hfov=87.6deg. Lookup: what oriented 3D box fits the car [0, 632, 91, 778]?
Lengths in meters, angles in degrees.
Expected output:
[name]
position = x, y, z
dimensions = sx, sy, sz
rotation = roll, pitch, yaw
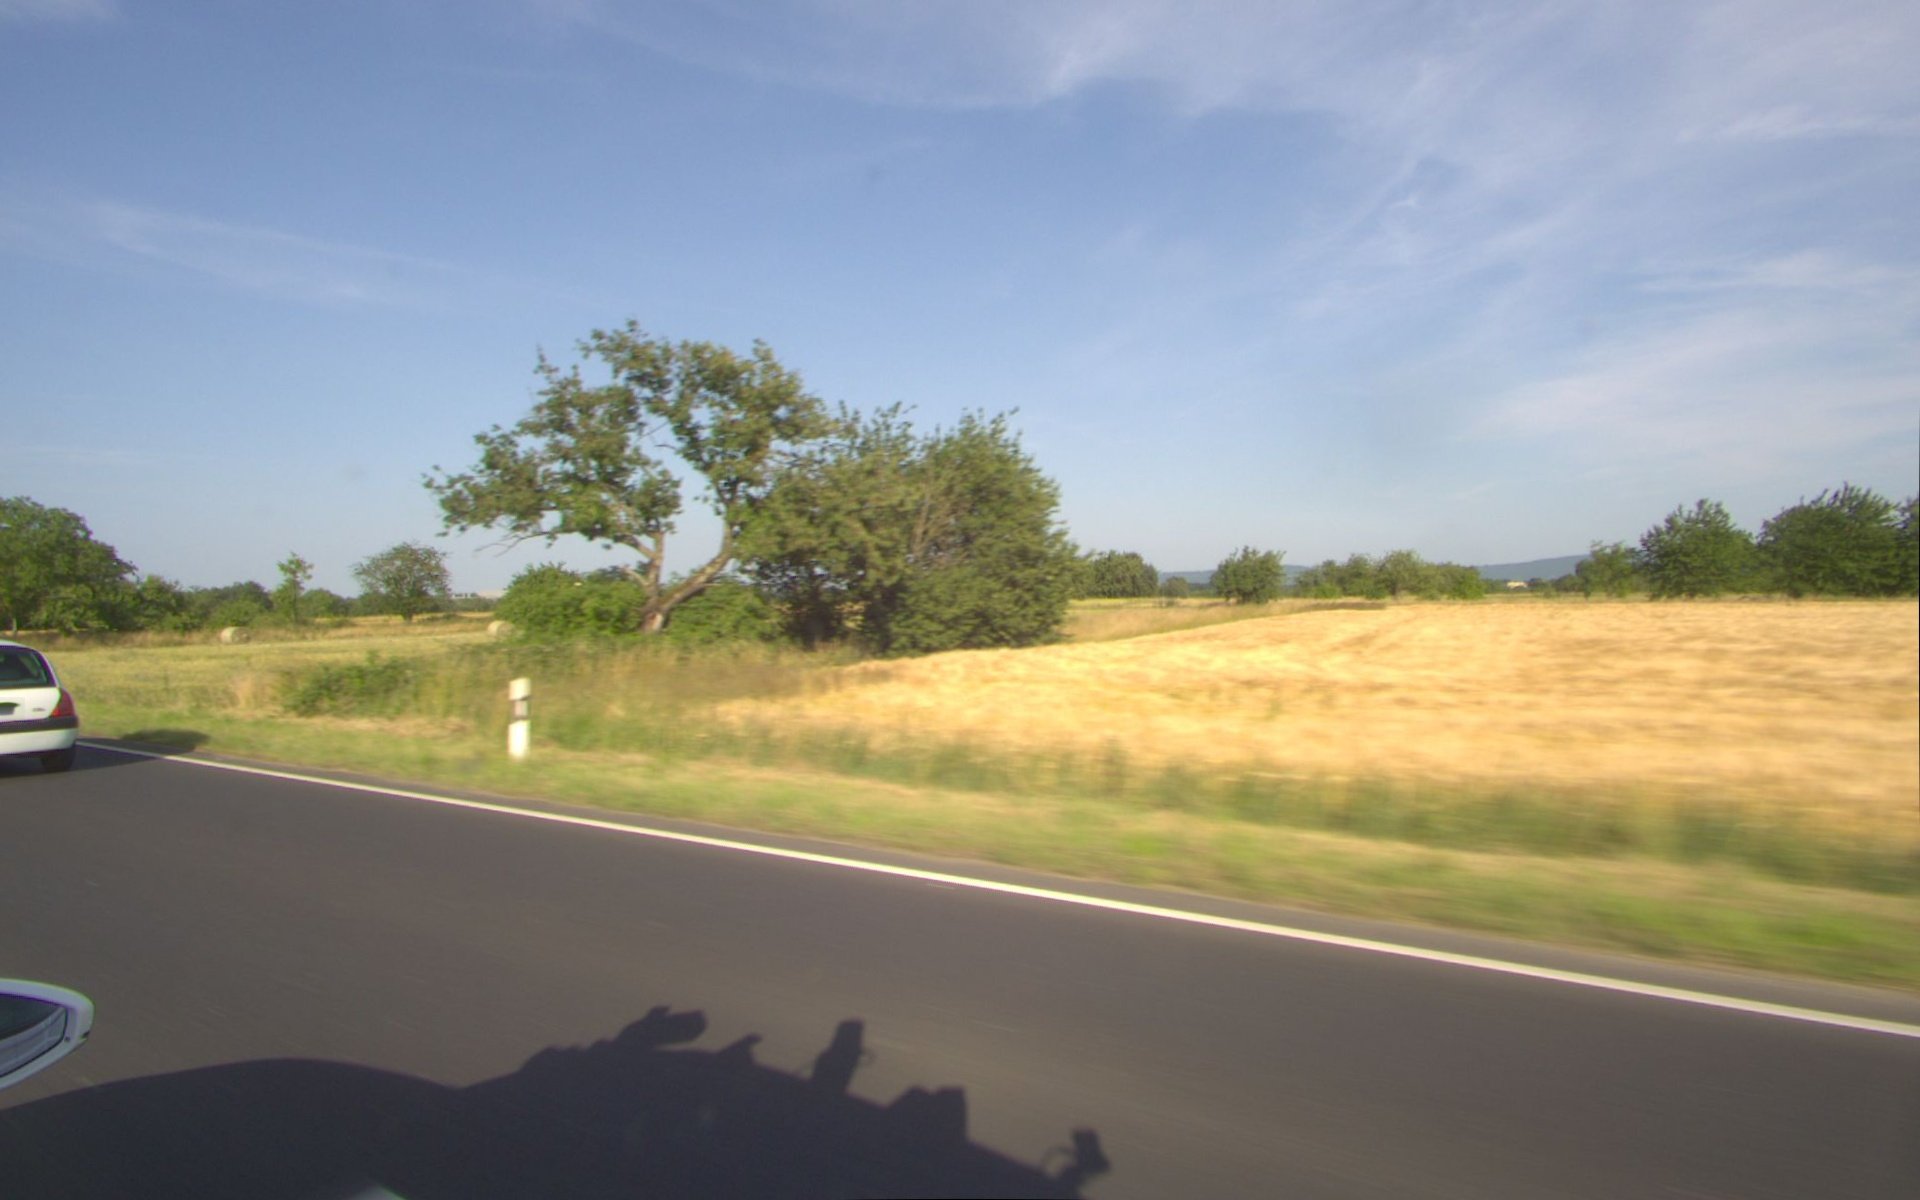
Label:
[car]
position = -10.935, 1.063, 10.590
dimensions = 3.896, 1.405, 1.614
rotation = -2, -2, 33
